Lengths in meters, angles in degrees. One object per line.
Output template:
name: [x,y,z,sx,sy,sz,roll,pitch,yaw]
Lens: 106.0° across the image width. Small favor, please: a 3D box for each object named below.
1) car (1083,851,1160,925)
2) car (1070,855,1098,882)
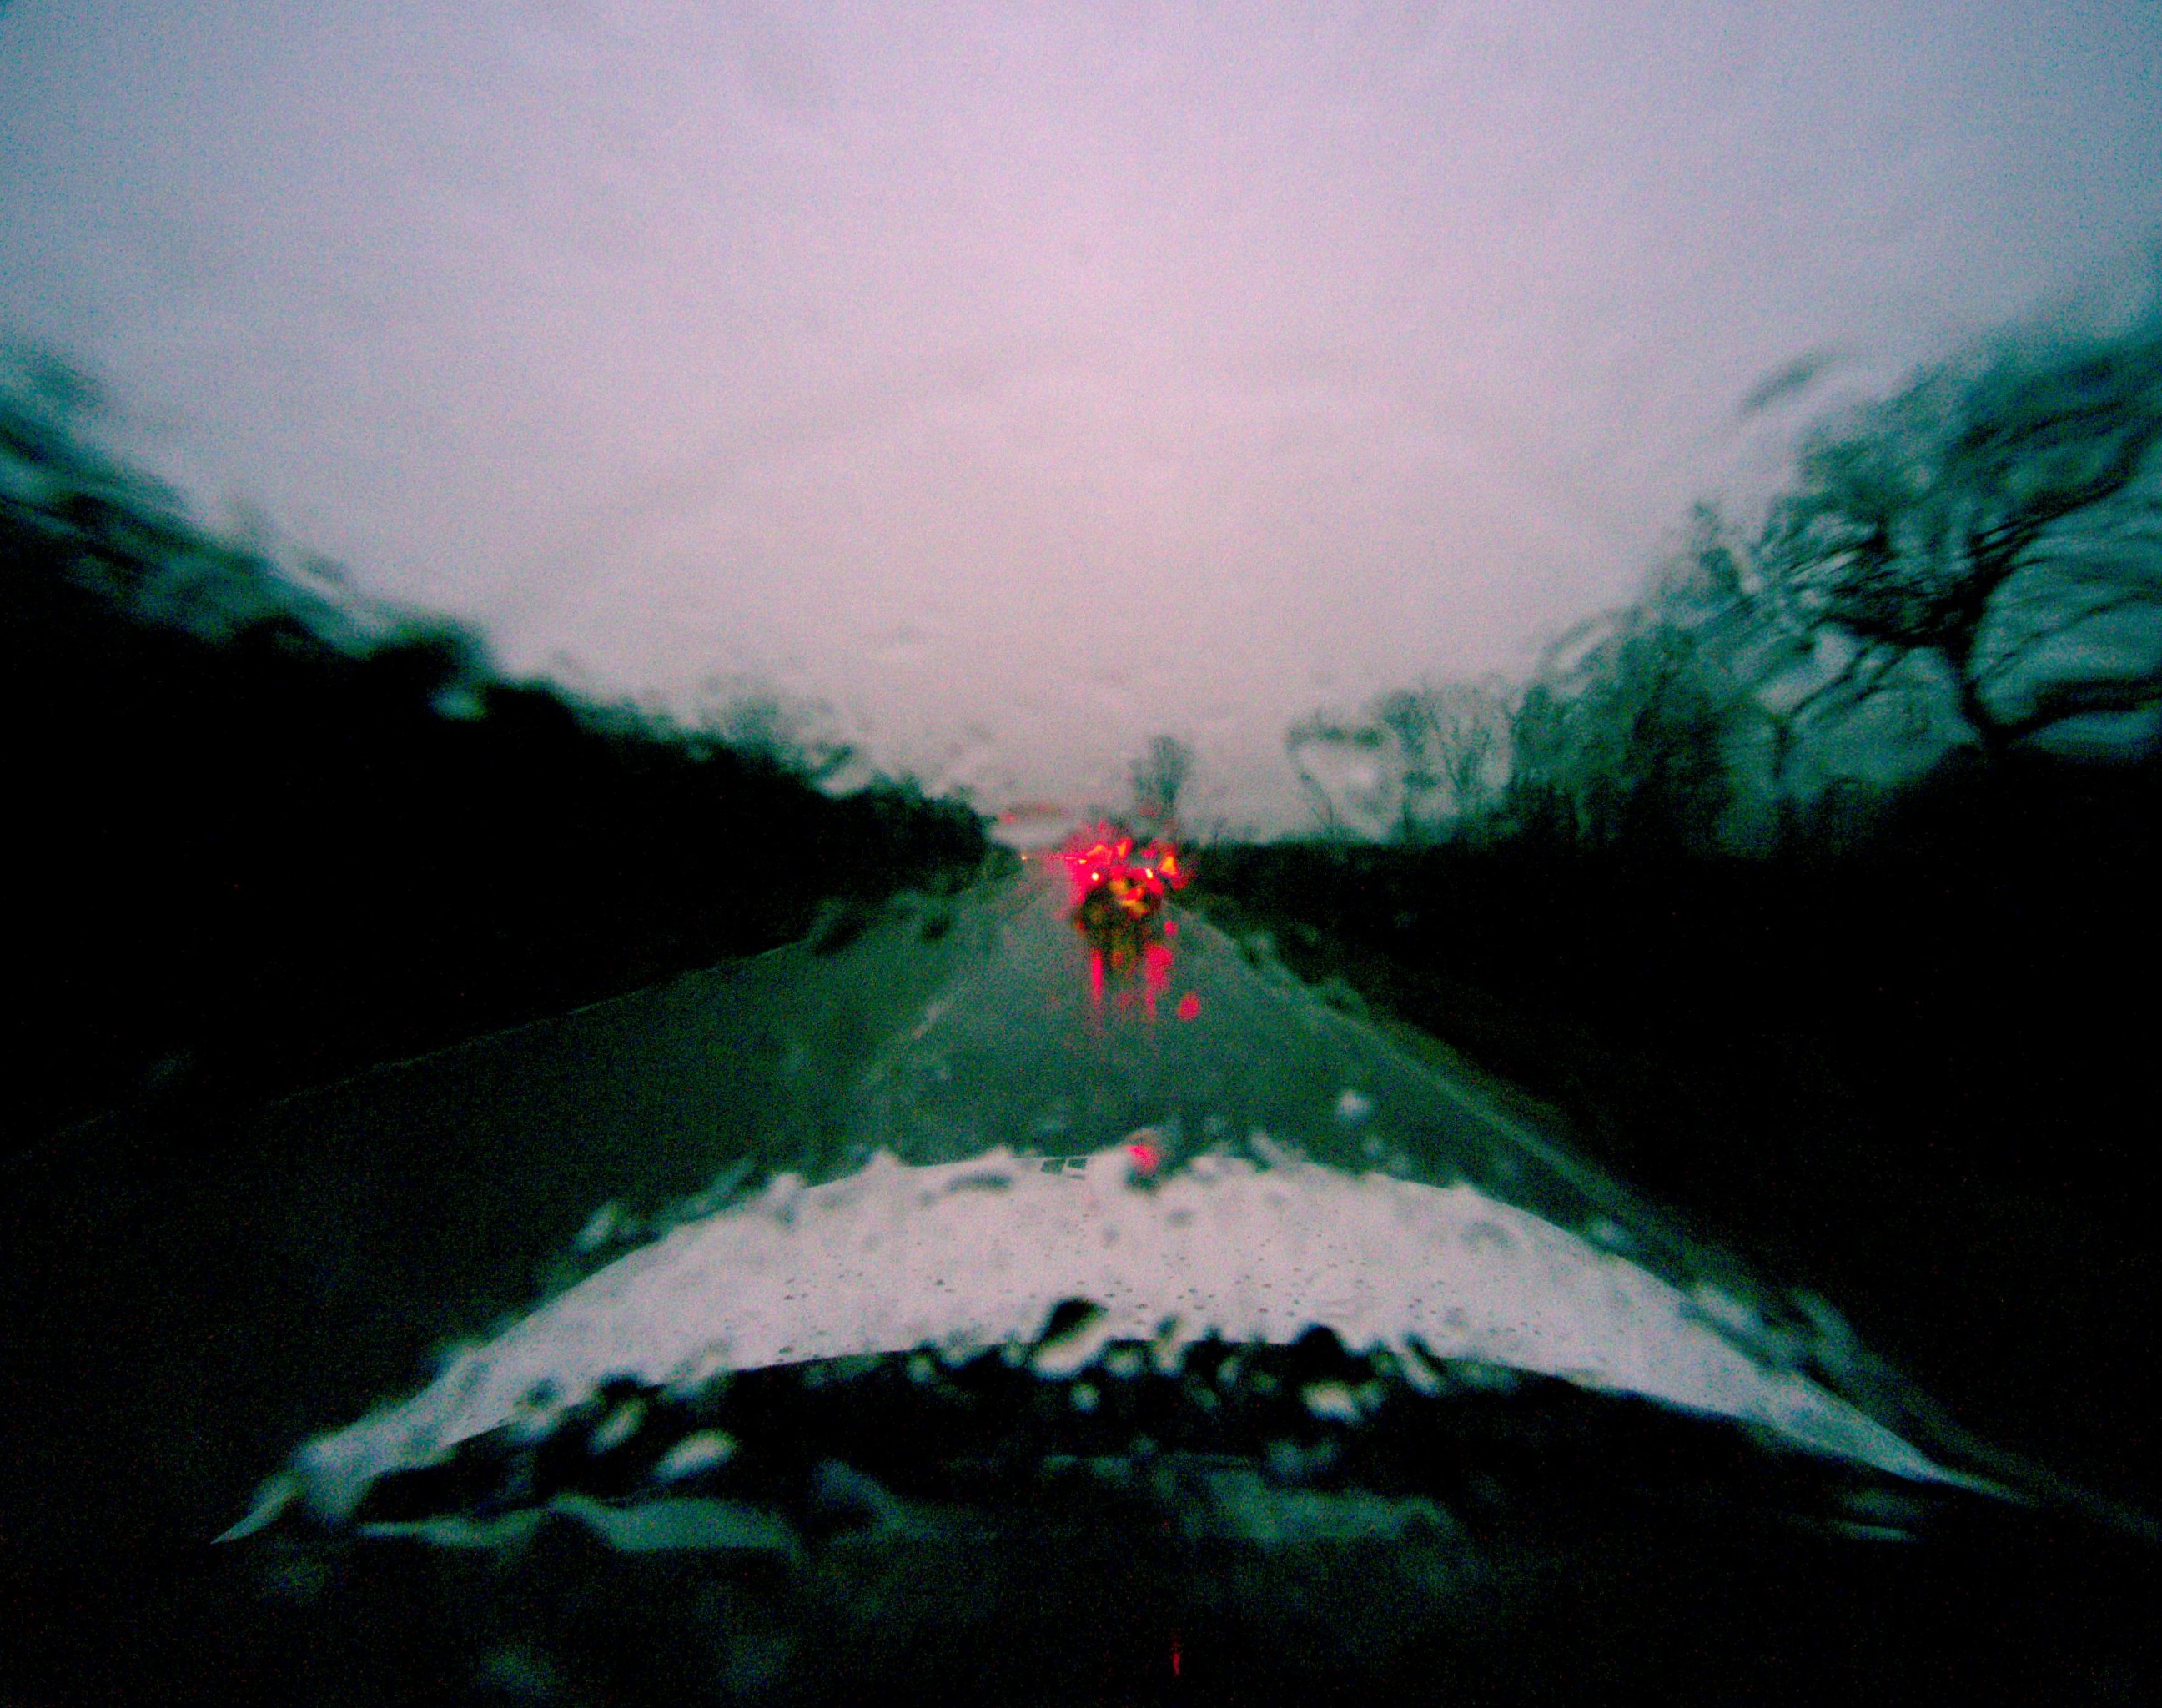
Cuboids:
car: [0.972,0.716,19.070,1.595,1.522,3.873,-1,0,3]
car: [0.191,0.778,45.903,1.541,1.396,3.870,-1,0,1]
